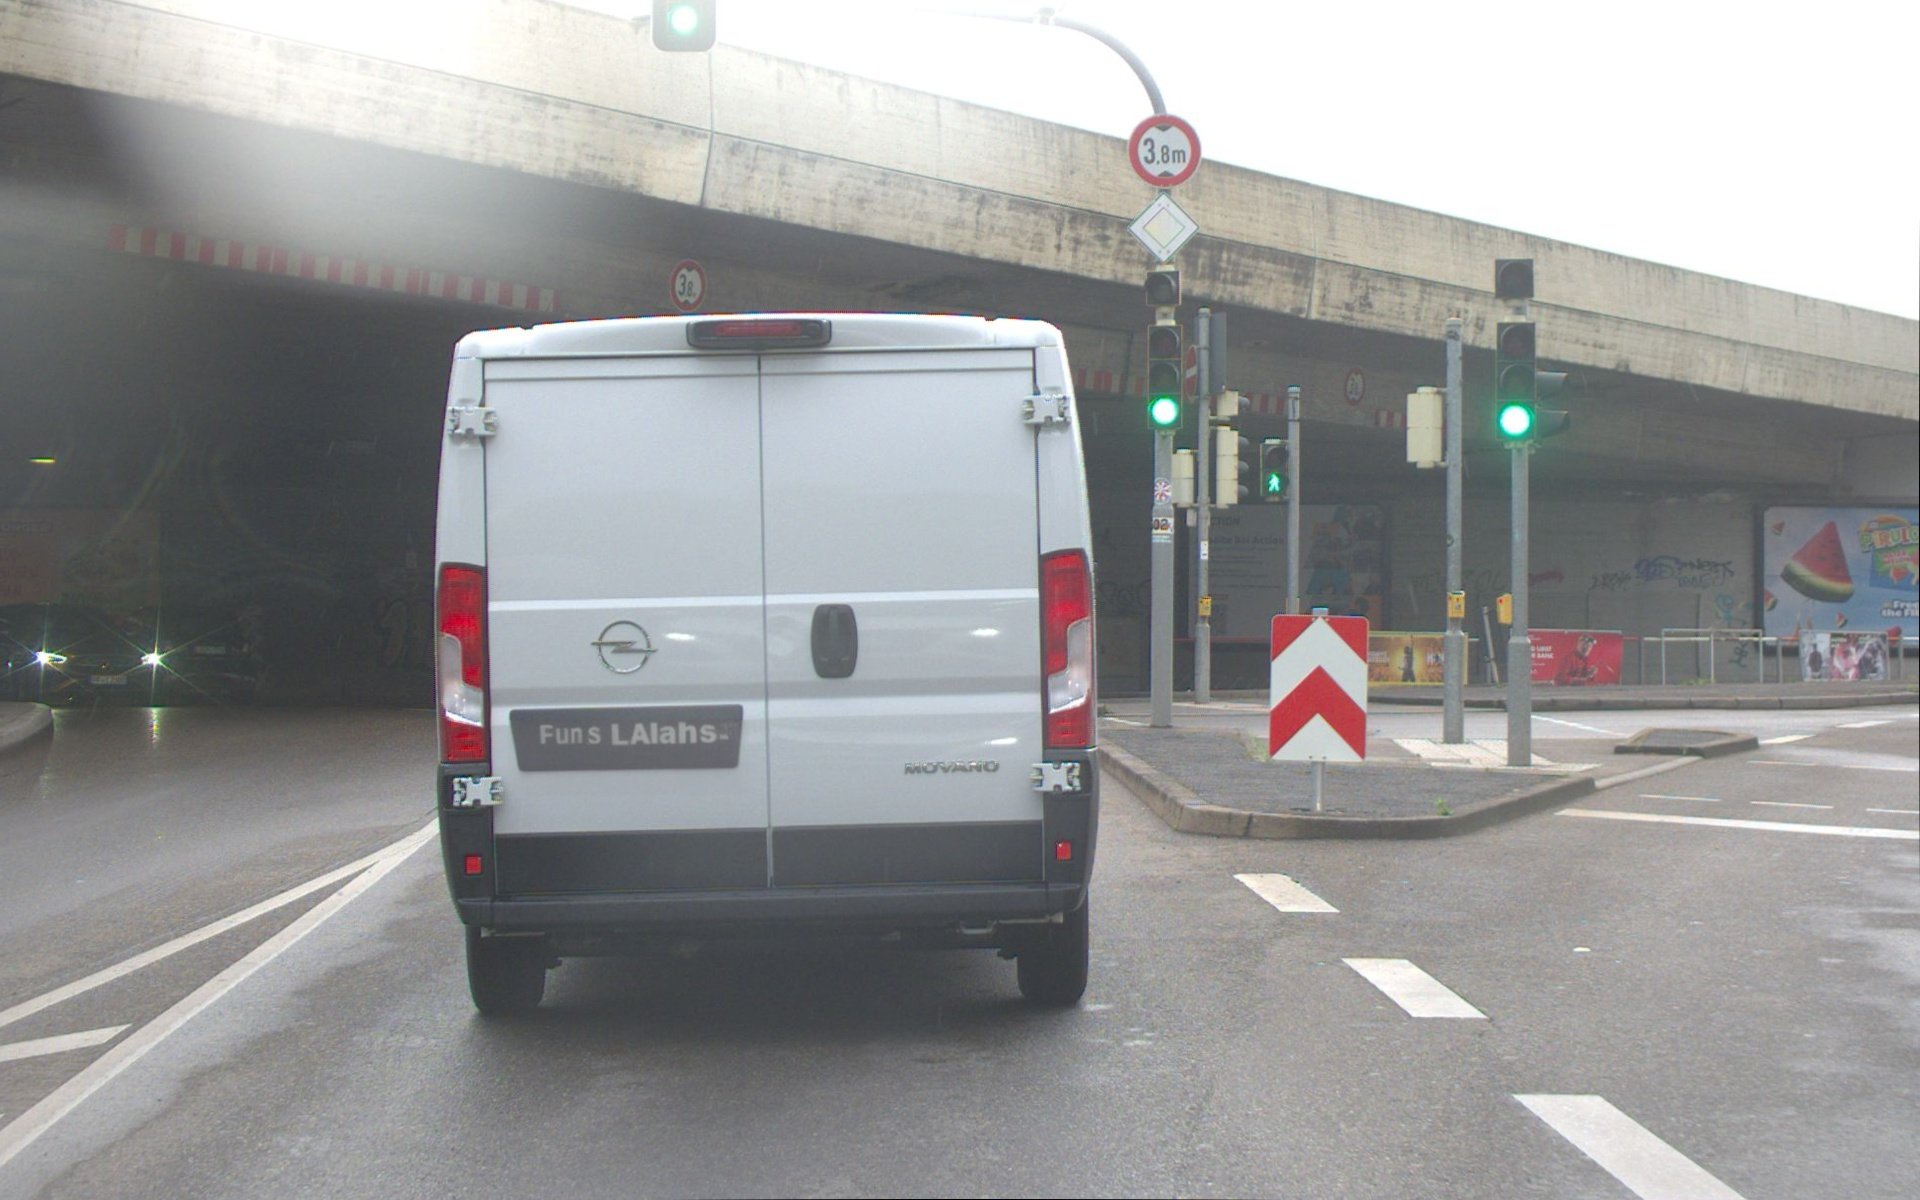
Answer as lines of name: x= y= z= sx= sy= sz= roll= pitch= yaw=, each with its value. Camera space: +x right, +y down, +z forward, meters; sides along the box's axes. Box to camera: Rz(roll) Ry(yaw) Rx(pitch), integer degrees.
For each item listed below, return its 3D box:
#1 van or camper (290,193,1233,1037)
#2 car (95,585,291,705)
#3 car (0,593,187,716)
van or camper: x=-0.649 y=0.027 z=12.398 sx=2.698 sy=2.408 sz=4.904 roll=1 pitch=0 yaw=-2
car: x=-11.892 y=0.669 z=53.139 sx=1.993 sy=1.744 sz=4.001 roll=0 pitch=1 yaw=-27
car: x=-12.324 y=0.708 z=47.114 sx=1.993 sy=1.525 sz=4.500 roll=1 pitch=1 yaw=-32
